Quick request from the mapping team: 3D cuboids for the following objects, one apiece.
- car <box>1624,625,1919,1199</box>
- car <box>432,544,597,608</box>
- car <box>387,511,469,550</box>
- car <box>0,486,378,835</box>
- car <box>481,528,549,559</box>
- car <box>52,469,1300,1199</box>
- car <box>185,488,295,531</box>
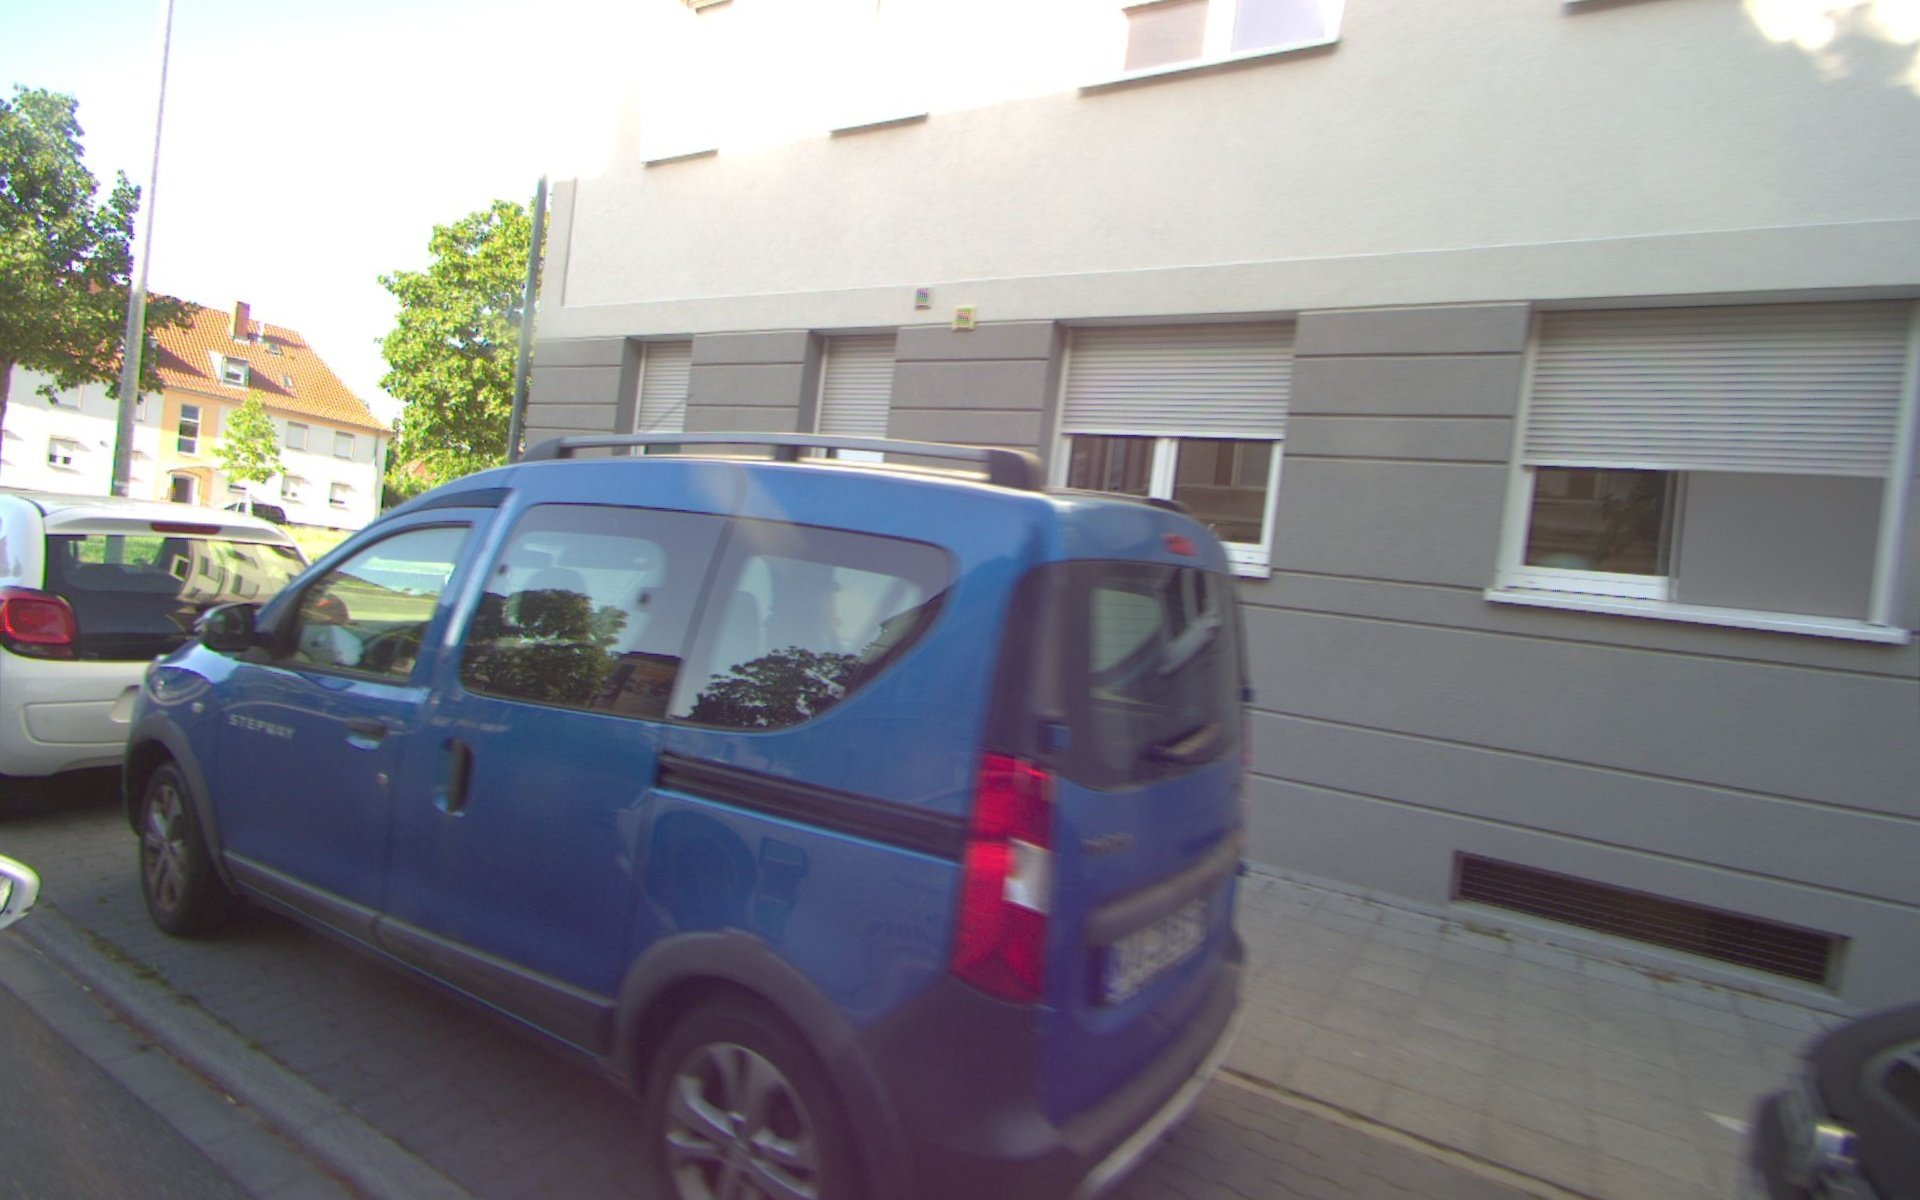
[{"bbox_3d":[3.195,1.044,0.894,4.108,1.552,1.737,7,3,31],"label":"car"},{"bbox_3d":[-11.958,-0.606,27.213,1.578,1.407,3.810,3,-2,32],"label":"car"},{"bbox_3d":[-33.261,-4.320,62.982,1.838,1.807,4.078,8,1,32],"label":"car"},{"bbox_3d":[-5.088,0.100,5.713,3.668,1.430,1.563,6,4,32],"label":"car"},{"bbox_3d":[-30.113,-3.811,68.116,1.618,1.569,3.880,8,1,32],"label":"car"},{"bbox_3d":[-1.236,0.412,3.453,4.195,1.455,1.681,6,4,31],"label":"car"},{"bbox_3d":[-38.430,-4.825,53.802,1.868,1.620,4.290,8,1,32],"label":"car"}]
